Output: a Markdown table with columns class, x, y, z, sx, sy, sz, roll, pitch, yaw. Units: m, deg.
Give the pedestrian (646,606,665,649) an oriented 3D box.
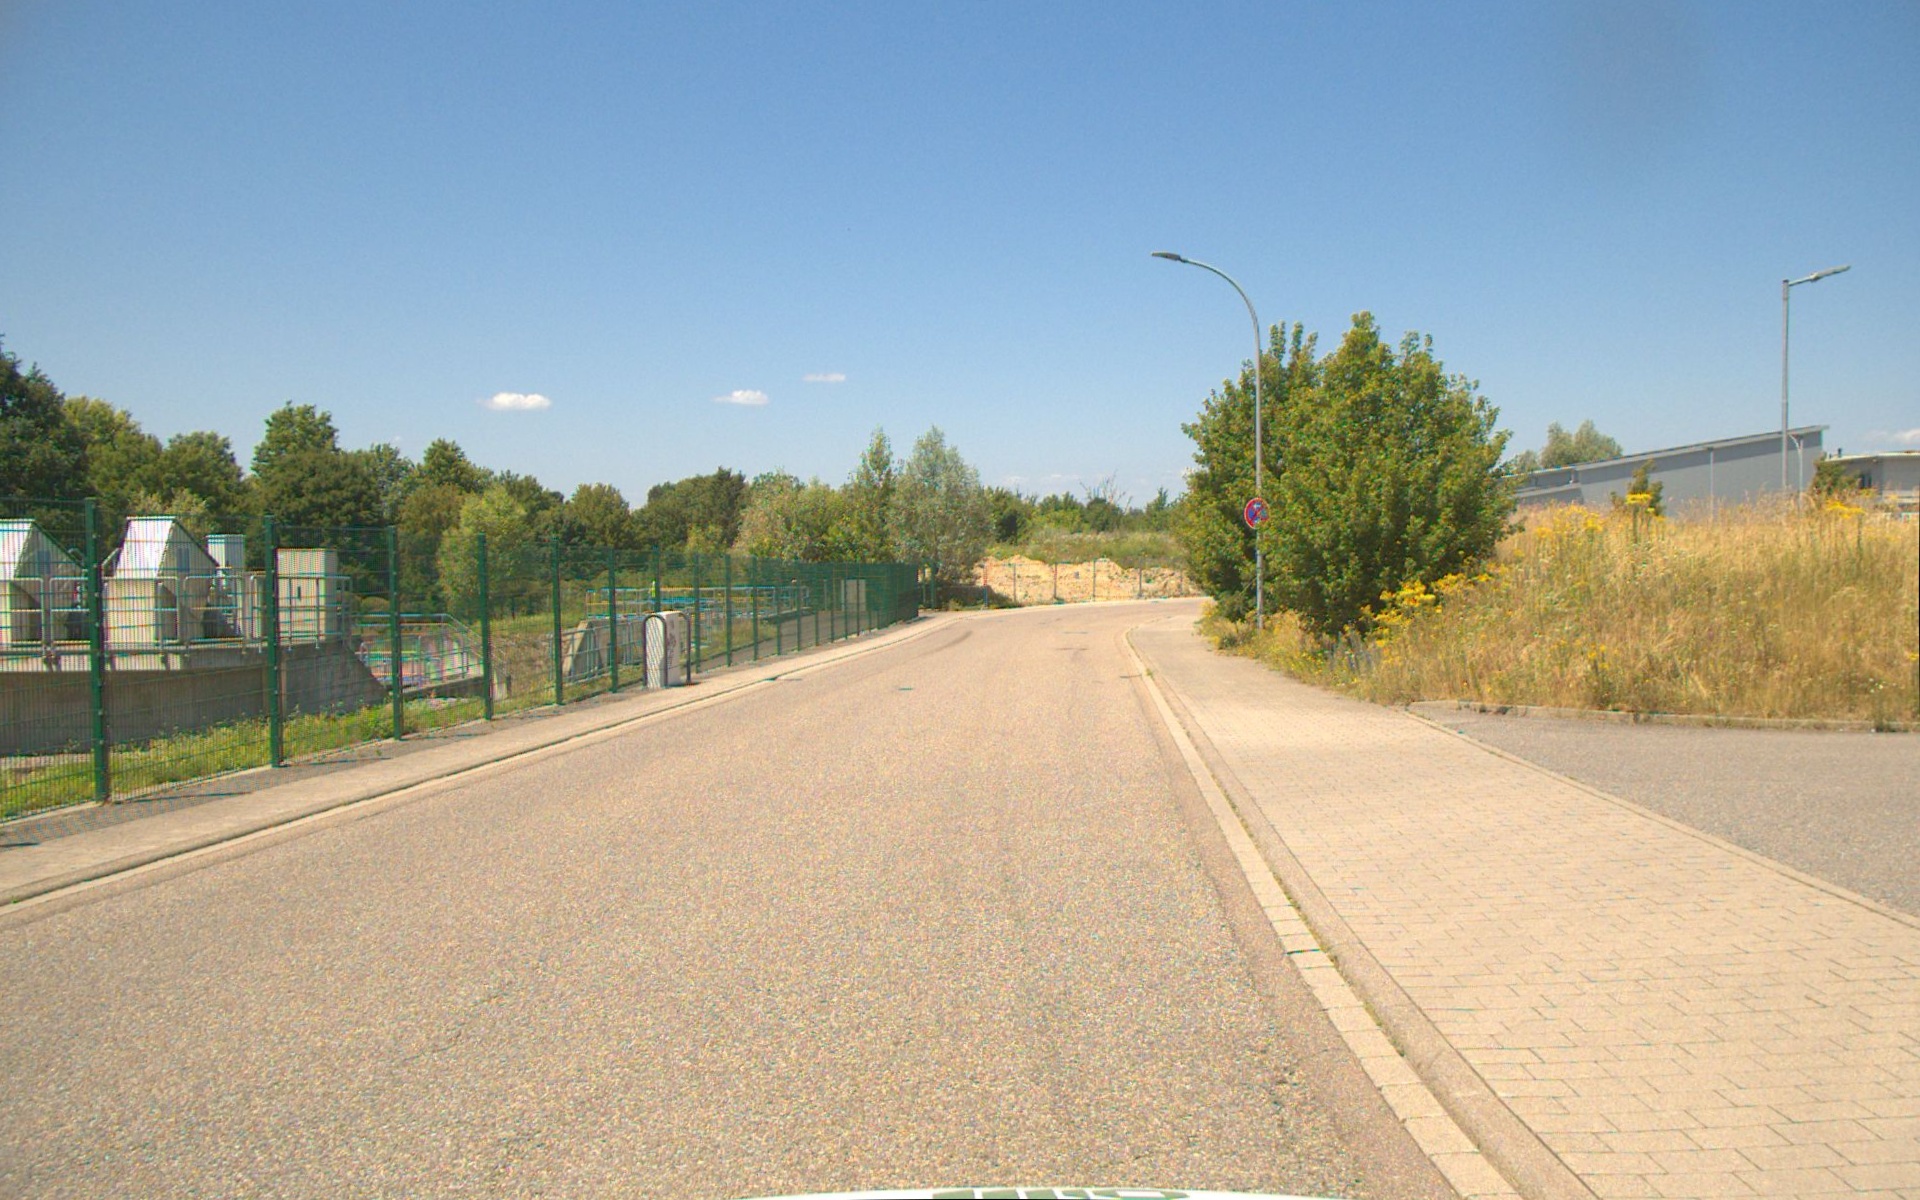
| class | x | y | z | sx | sy | sz | roll | pitch | yaw |
| --- | --- | --- | --- | --- | --- | --- | --- | --- | --- |
| pedestrian | -13.573 | 1.212 | 73.763 | 0.593 | 1.871 | 0.805 | -2 | -1 | 3 |
